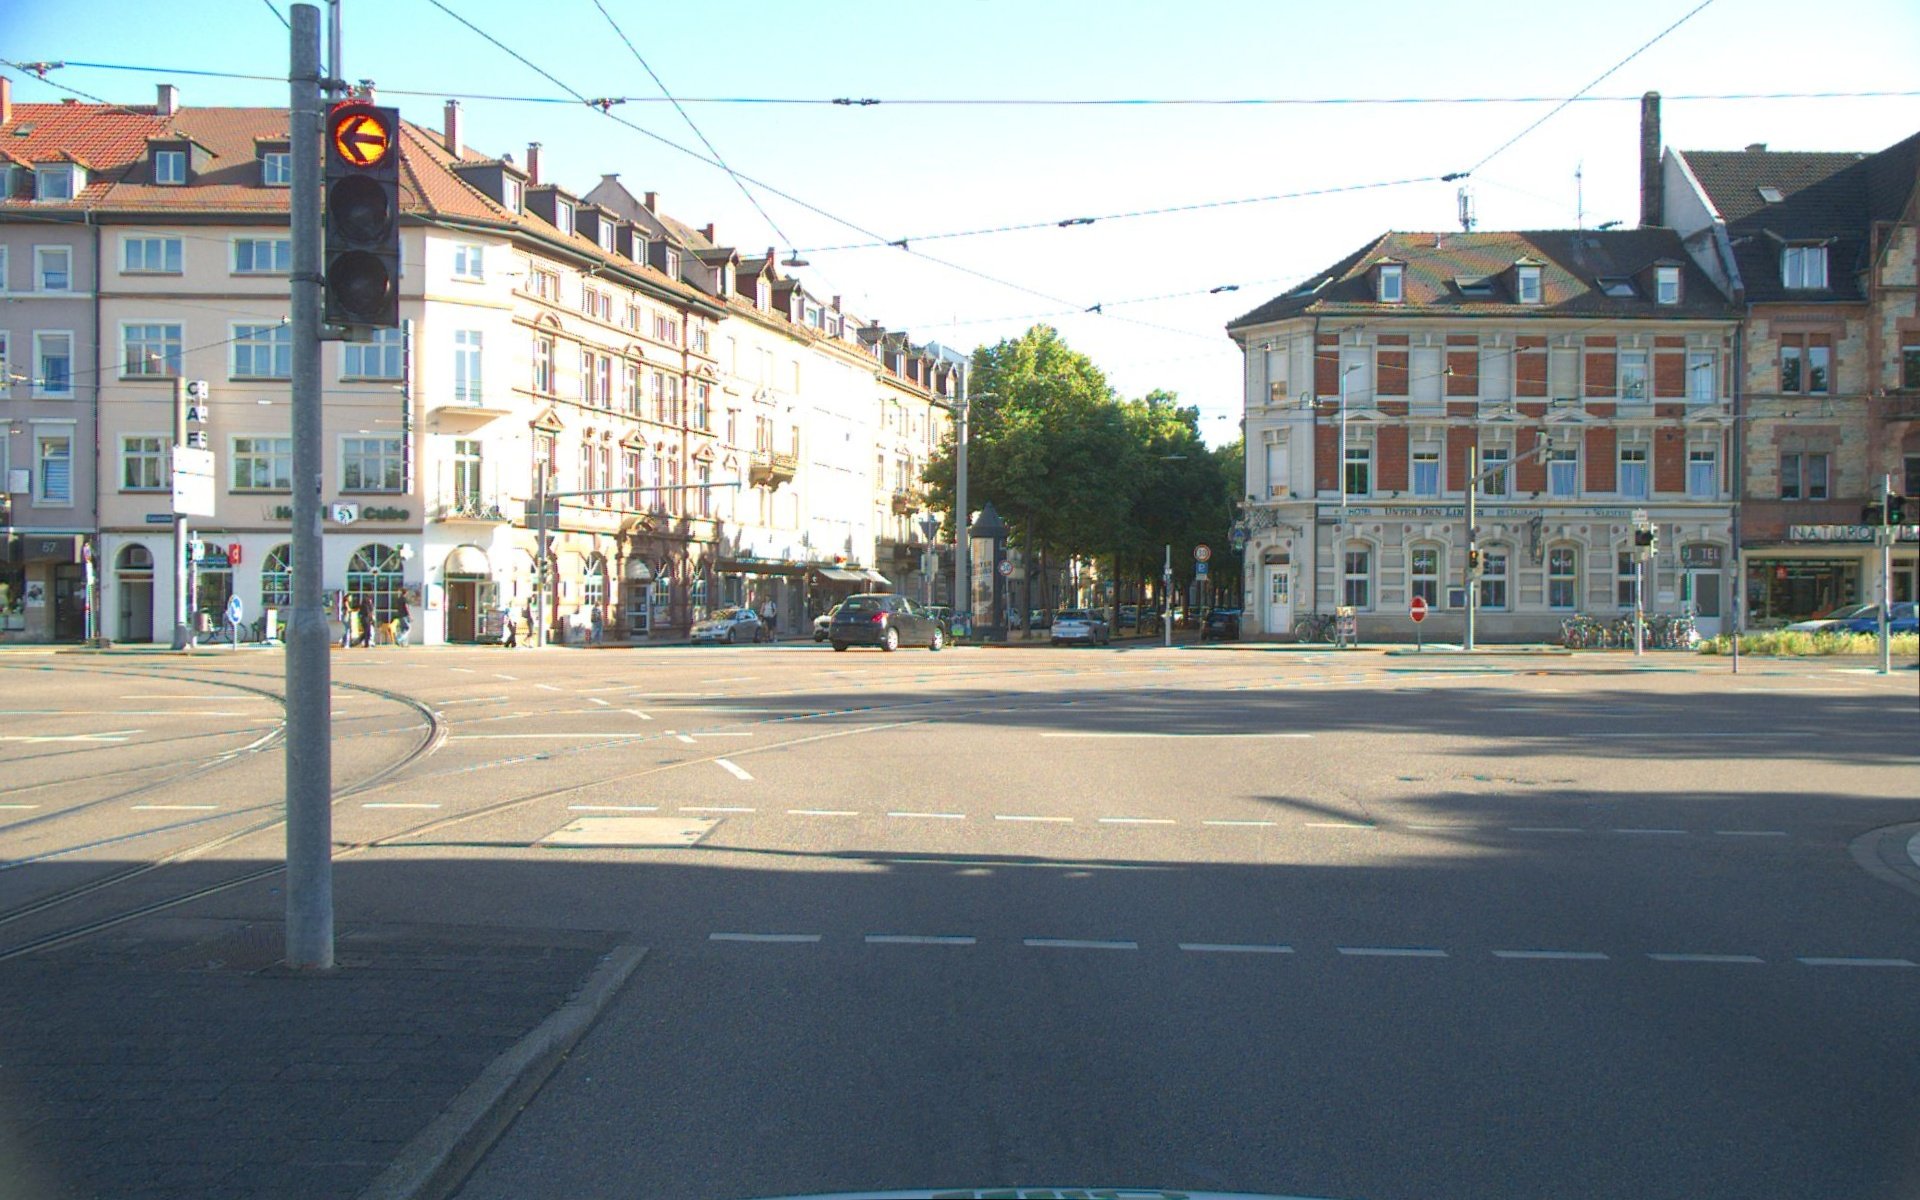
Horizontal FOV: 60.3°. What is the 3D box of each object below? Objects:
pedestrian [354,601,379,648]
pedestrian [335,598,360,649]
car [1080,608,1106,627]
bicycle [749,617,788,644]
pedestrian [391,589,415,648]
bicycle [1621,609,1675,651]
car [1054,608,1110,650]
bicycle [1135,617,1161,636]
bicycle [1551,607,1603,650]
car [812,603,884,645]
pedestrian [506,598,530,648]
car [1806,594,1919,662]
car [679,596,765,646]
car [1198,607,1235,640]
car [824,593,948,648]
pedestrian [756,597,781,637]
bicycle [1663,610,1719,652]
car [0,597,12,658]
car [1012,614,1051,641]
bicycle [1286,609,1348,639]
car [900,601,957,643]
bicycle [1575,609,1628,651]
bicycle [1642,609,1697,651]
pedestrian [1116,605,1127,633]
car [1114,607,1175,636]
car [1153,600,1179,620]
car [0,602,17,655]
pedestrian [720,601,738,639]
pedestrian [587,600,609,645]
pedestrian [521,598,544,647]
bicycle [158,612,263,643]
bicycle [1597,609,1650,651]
[{"bbox_3d":[-18.961,0.774,52.874,0.620,1.502,0.465,1,-1,-5],"label":"pedestrian"},{"bbox_3d":[-19.753,0.762,53.357,0.620,1.640,0.465,1,-1,-5],"label":"pedestrian"},{"bbox_3d":[11.503,1.490,142.563,1.526,1.540,3.658,1,0,16],"label":"car"},{"bbox_3d":[-7.533,1.202,65.156,0.746,1.025,2.398,1,0,13],"label":"bicycle"},{"bbox_3d":[-18.105,0.603,53.782,0.620,1.914,0.465,1,-1,-5],"label":"pedestrian"},{"bbox_3d":[22.080,0.955,53.148,0.615,1.309,2.661,1,0,0],"label":"bicycle"},{"bbox_3d":[4.834,1.107,65.099,1.734,1.557,4.003,1,0,11],"label":"car"},{"bbox_3d":[11.279,1.568,99.220,0.619,1.104,1.685,1,0,-31],"label":"bicycle"},{"bbox_3d":[19.806,0.896,53.107,0.678,1.309,2.661,1,0,0],"label":"bicycle"},{"bbox_3d":[-4.503,0.959,67.106,1.951,1.646,4.003,1,0,11],"label":"car"},{"bbox_3d":[-14.864,0.762,55.669,0.620,1.662,0.700,1,-1,-4],"label":"pedestrian"},{"bbox_3d":[25.927,0.784,46.047,3.706,1.809,1.999,1,0,-2],"label":"car"},{"bbox_3d":[-9.582,0.825,66.911,1.951,1.937,4.002,1,0,17],"label":"car"},{"bbox_3d":[12.865,1.146,82.773,1.655,1.592,3.844,1,0,11],"label":"car"},{"bbox_3d":[-1.927,0.548,44.187,1.719,1.386,3.853,1,0,25],"label":"car"},{"bbox_3d":[-7.545,0.662,65.085,0.803,1.539,0.598,1,-1,14],"label":"pedestrian"},{"bbox_3d":[23.479,0.973,53.171,0.615,1.309,2.661,1,0,0],"label":"bicycle"},{"bbox_3d":[-28.060,0.704,44.384,4.081,1.646,1.953,1,0,-1],"label":"car"},{"bbox_3d":[5.296,2.018,122.621,1.951,1.937,4.002,1,0,16],"label":"car"},{"bbox_3d":[12.348,0.831,57.269,2.006,1.015,0.631,1,0,2],"label":"bicycle"},{"bbox_3d":[-1.489,1.066,79.902,1.951,1.937,4.003,1,0,11],"label":"car"},{"bbox_3d":[20.591,0.939,53.124,0.678,1.309,2.661,1,0,0],"label":"bicycle"},{"bbox_3d":[22.795,0.954,53.172,0.615,1.309,2.661,1,0,0],"label":"bicycle"},{"bbox_3d":[10.946,1.280,112.097,0.626,1.827,0.491,1,-1,12],"label":"pedestrian"},{"bbox_3d":[12.849,1.462,115.149,3.902,1.937,2.001,1,0,15],"label":"car"},{"bbox_3d":[16.786,0.832,134.837,1.526,1.540,3.658,1,0,16],"label":"car"},{"bbox_3d":[-32.390,0.909,52.428,3.902,1.699,2.002,0,0,8],"label":"car"},{"bbox_3d":[-10.346,0.886,74.053,0.532,1.660,0.707,1,-1,13],"label":"pedestrian"},{"bbox_3d":[-13.657,0.841,62.478,0.532,1.660,0.707,1,-1,13],"label":"pedestrian"},{"bbox_3d":[-14.685,0.771,56.846,0.620,1.662,0.700,1,-1,-4],"label":"pedestrian"},{"bbox_3d":[-25.520,0.938,56.349,3.066,0.997,1.001,1,0,-1],"label":"bicycle"},{"bbox_3d":[21.302,0.952,53.145,0.615,1.309,2.661,1,0,0],"label":"bicycle"}]
